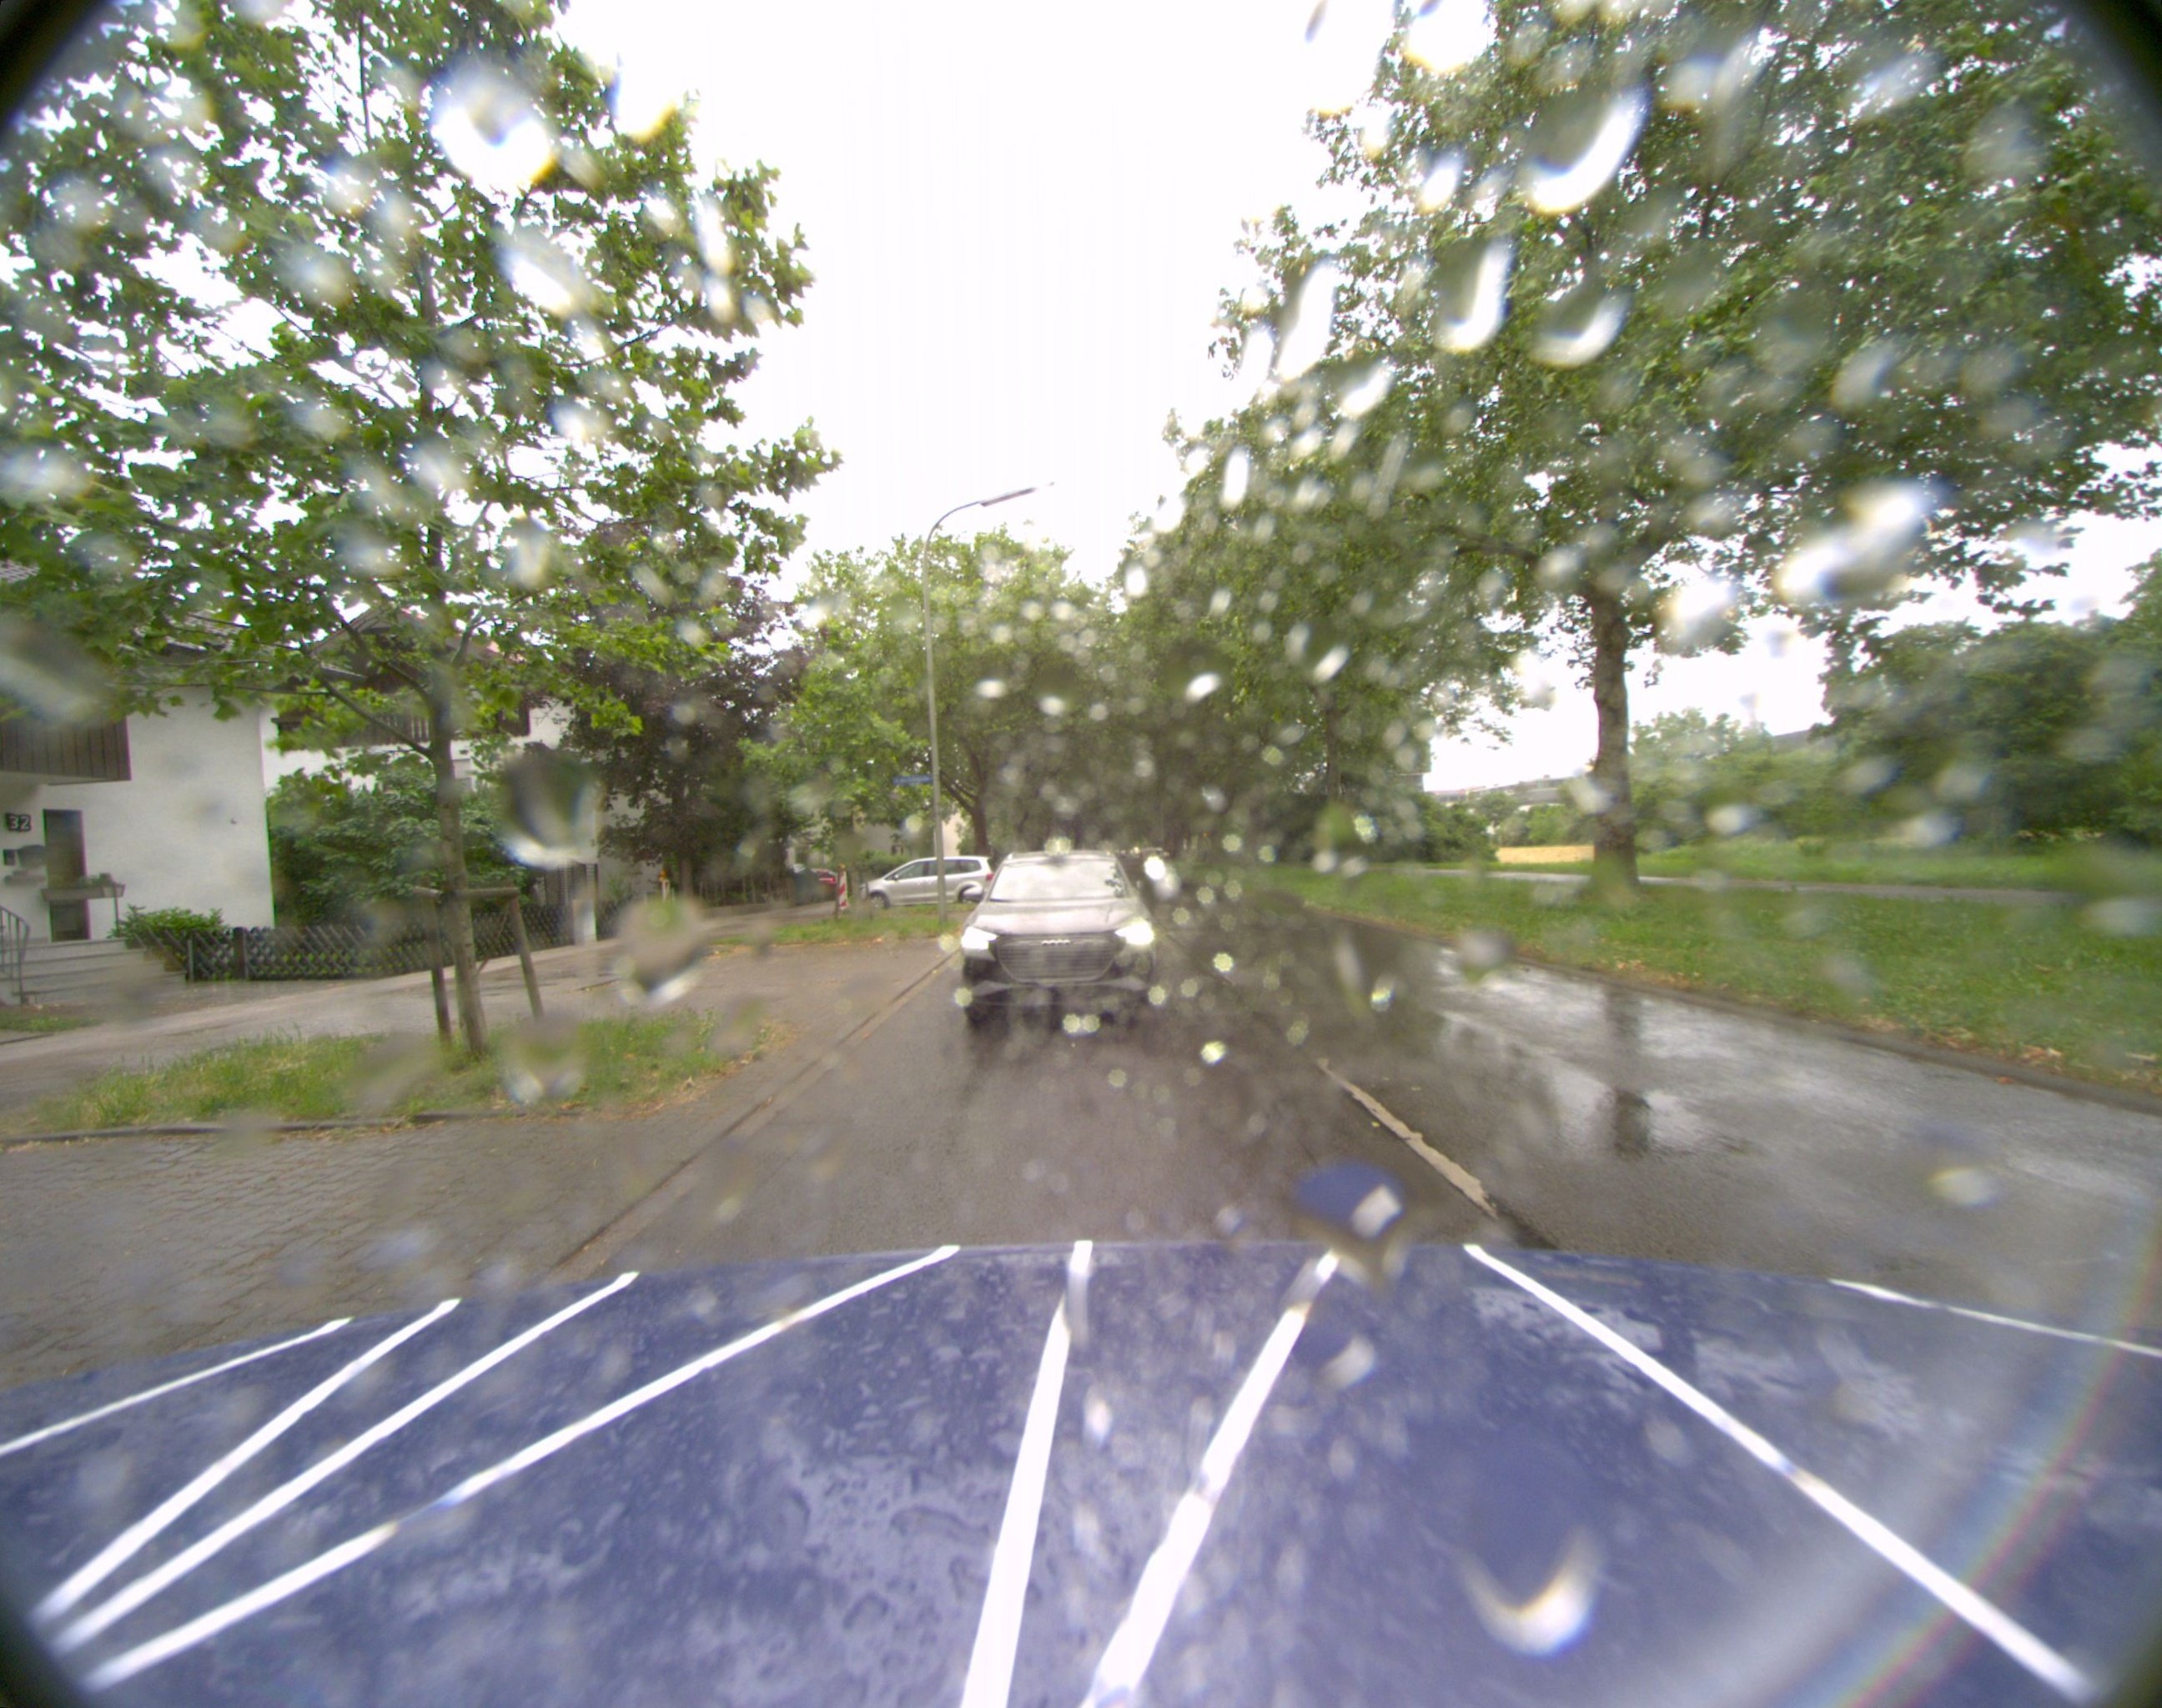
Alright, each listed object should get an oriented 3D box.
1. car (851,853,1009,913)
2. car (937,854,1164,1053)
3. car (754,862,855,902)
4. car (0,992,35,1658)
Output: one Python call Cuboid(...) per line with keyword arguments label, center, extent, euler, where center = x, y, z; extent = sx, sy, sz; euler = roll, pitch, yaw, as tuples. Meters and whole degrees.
Cuboid(label="car", center=(-4.803, 0.905, 24.718), extent=(4.701, 1.651, 1.976), euler=(-3, 0, -1))
Cuboid(label="car", center=(-0.222, 0.849, 8.654), extent=(1.862, 1.608, 4.424), euler=(-3, 0, 1))
Cuboid(label="car", center=(-12.651, 1.254, 34.927), extent=(3.853, 1.603, 1.843), euler=(-3, 0, 2))
Cuboid(label="car", center=(-4.753, 1.137, 0.625), extent=(4.779, 1.464, 1.937), euler=(-2, 0, -3))
